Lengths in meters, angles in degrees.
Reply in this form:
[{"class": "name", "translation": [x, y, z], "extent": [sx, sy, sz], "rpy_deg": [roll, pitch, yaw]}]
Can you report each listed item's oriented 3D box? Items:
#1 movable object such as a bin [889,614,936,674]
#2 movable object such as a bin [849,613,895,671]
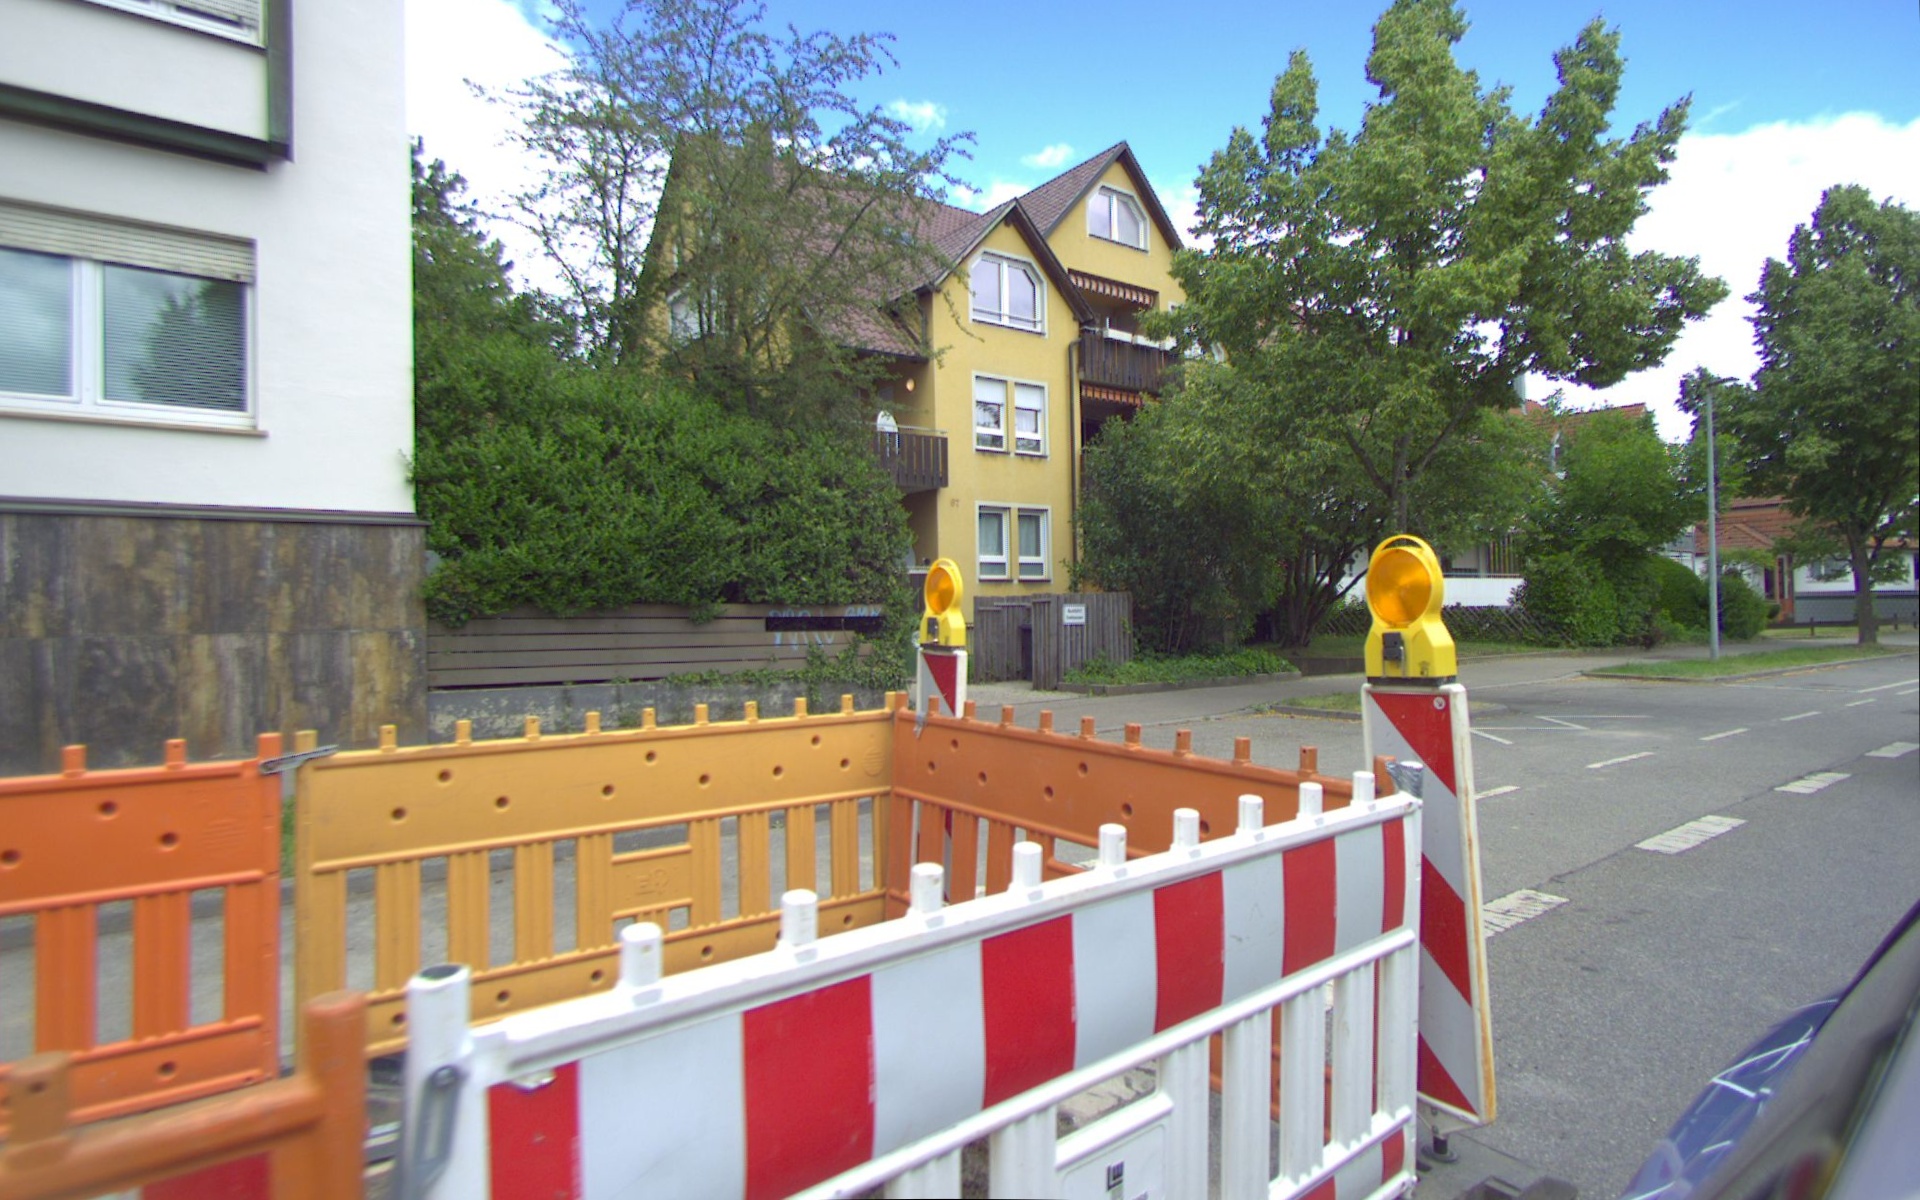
[{"class": "movable object such as a bin", "translation": [-0.882, 0.804, 18.709], "extent": [0.664, 1.067, 0.590], "rpy_deg": [0, -1, -35]}, {"class": "movable object such as a bin", "translation": [-1.665, 0.775, 19.071], "extent": [0.664, 1.067, 0.590], "rpy_deg": [0, -1, -35]}]
